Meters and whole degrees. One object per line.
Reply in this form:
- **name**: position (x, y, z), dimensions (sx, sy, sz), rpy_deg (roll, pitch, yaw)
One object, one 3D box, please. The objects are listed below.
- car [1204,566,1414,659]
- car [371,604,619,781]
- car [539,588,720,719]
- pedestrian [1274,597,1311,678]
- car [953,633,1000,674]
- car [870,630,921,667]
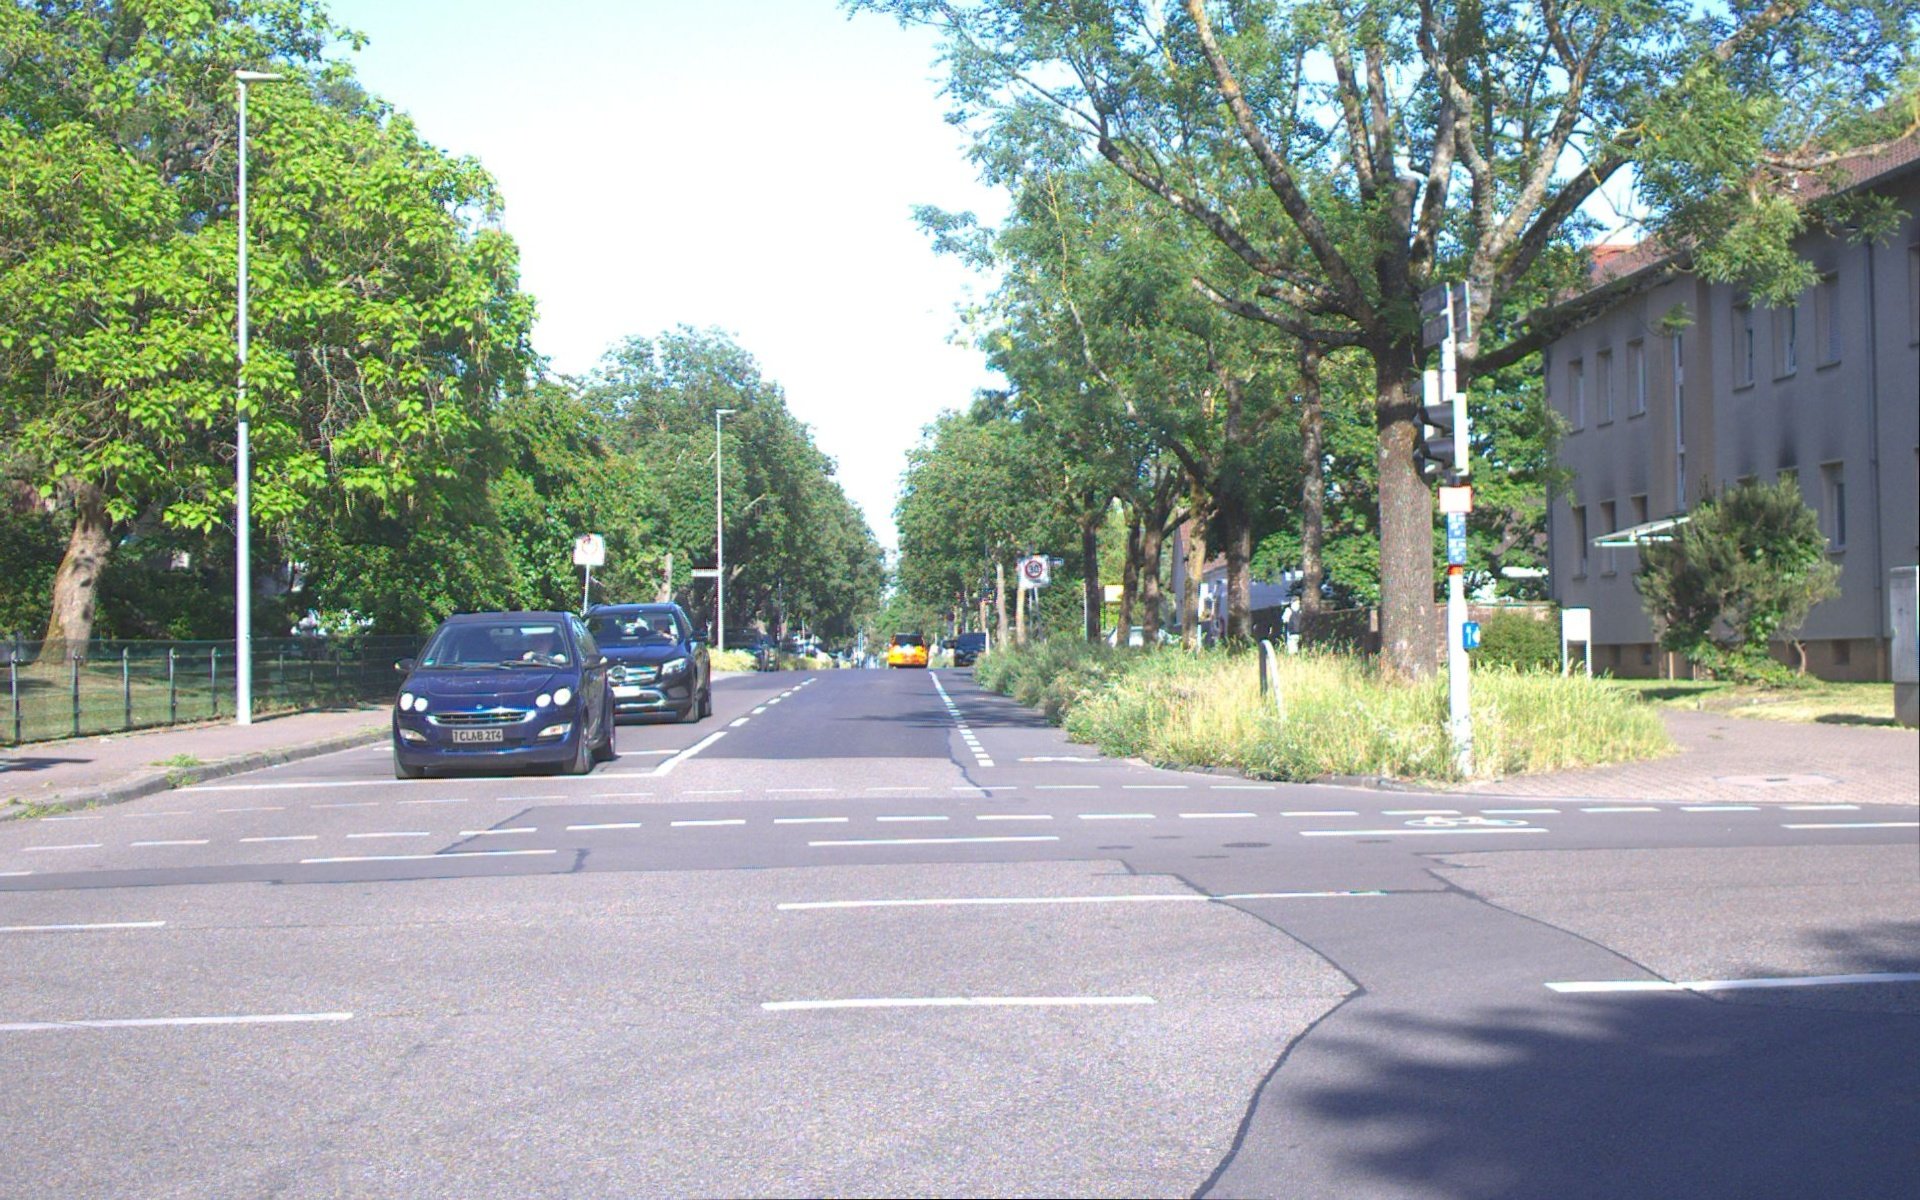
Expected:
- **car**: position (9.916, 0.347, 97.983), dimensions (5.594, 2.530, 2.266), rpy_deg (-1, 0, -4)
- **car**: position (-4.157, 0.830, 31.248), dimensions (1.806, 1.450, 3.850), rpy_deg (-2, -1, -2)
- **car**: position (-4.418, 0.688, 46.510), dimensions (1.815, 1.612, 4.392), rpy_deg (-2, 0, 2)
- **pedestrian**: position (7.176, 0.801, 74.189), dimensions (0.637, 1.700, 0.612), rpy_deg (-3, 0, -2)
- **car**: position (0.713, 2.342, 149.190), dimensions (1.853, 1.620, 4.469), rpy_deg (-2, -2, -1)
- **car**: position (-2.733, 2.043, 143.935), dimensions (1.887, 1.474, 3.888), rpy_deg (2, -1, -4)
